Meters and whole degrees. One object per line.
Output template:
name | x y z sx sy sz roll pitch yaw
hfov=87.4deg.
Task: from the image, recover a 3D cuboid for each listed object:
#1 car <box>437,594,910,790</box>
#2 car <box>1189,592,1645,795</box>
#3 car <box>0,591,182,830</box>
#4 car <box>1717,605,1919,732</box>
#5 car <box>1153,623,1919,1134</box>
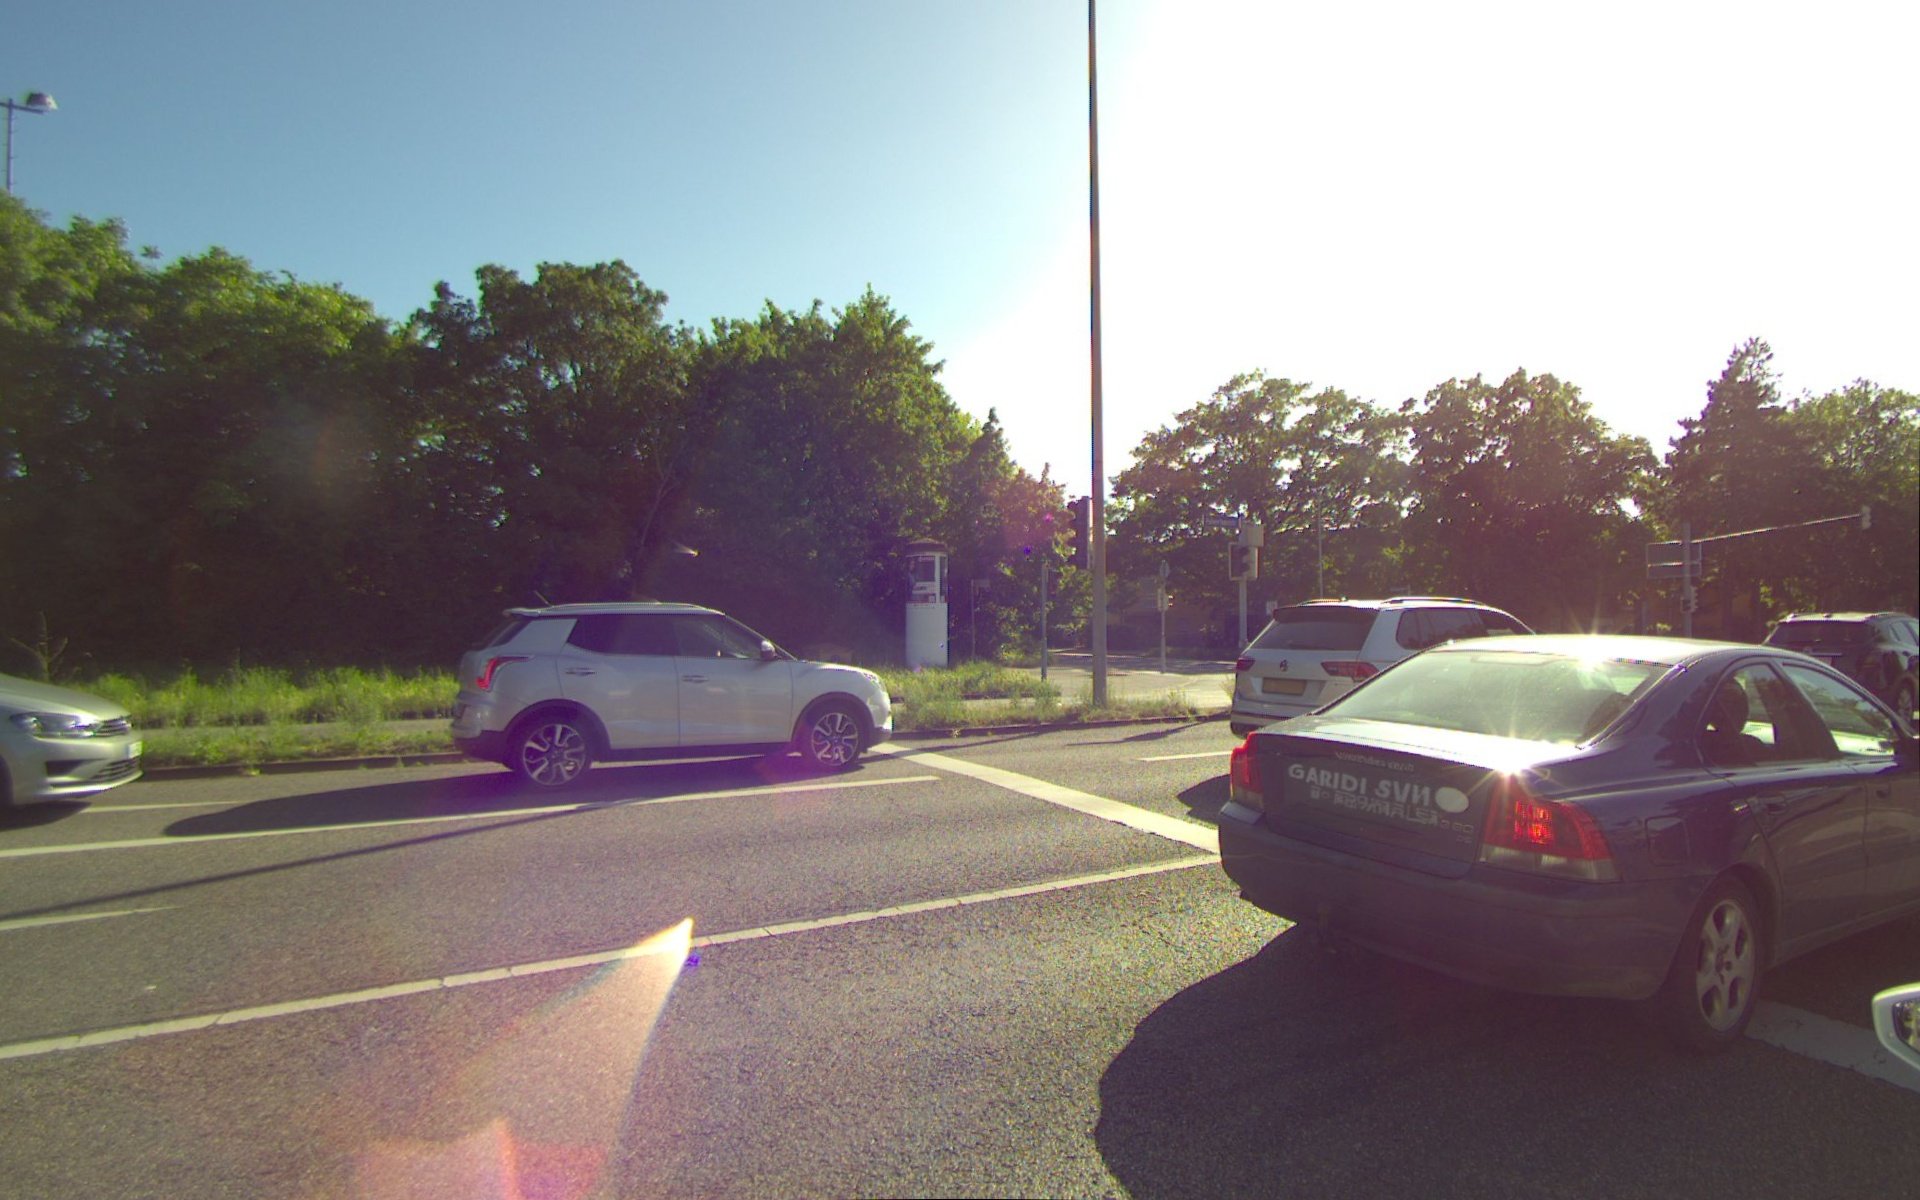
car | -2.737 0.812 9.838 4.146 1.558 1.822 1 -3 -30
car | 4.640 0.816 10.139 4.309 1.675 1.936 1 0 -27
car | -8.085 0.729 6.794 4.194 1.595 1.865 1 -2 -30
car | 13.714 0.968 15.363 4.314 1.675 1.901 1 0 -30
car | 3.175 0.866 4.799 4.315 1.413 1.827 1 0 -31
